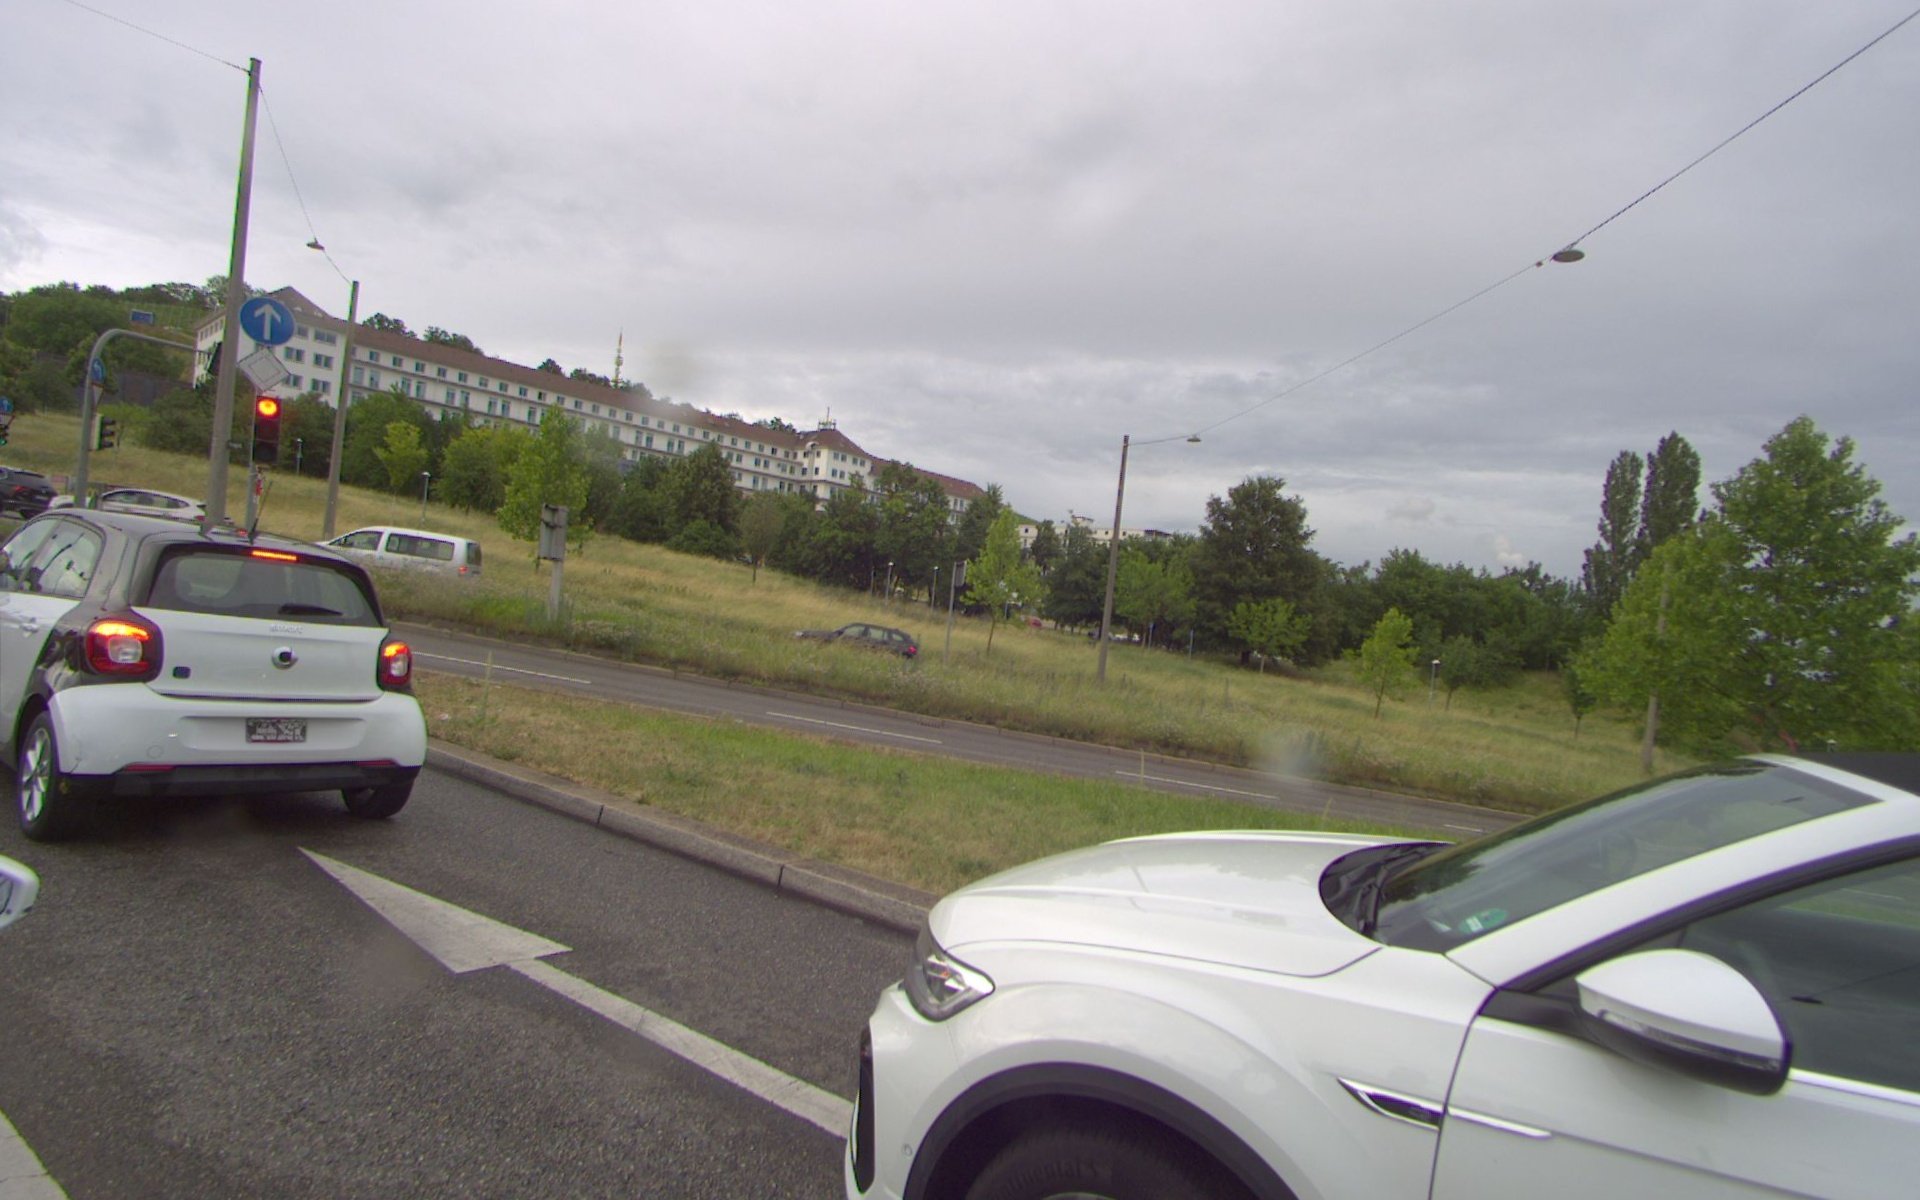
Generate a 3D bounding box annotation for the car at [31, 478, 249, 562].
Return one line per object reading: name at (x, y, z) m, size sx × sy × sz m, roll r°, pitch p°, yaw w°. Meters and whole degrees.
car at (-24.118, -2.315, 29.776) m, size 4.449 × 1.639 × 1.998 m, roll 8°, pitch -2°, yaw -10°

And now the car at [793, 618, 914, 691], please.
car at (-3.787, 1.916, 35.610) m, size 3.932 × 2.037 × 1.998 m, roll 7°, pitch -2°, yaw -9°

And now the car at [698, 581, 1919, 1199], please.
car at (1.744, 1.011, 1.783) m, size 4.156 × 1.571 × 1.718 m, roll 6°, pitch -2°, yaw 28°

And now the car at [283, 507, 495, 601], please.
car at (-15.866, -1.234, 28.189) m, size 4.619 × 1.871 × 1.820 m, roll 7°, pitch -2°, yaw -10°

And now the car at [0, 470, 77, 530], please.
car at (-32.842, -3.578, 33.770) m, size 4.342 × 1.655 × 2.000 m, roll 7°, pitch -2°, yaw -5°

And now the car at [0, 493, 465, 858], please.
car at (-4.678, 0.282, 5.901) m, size 3.397 × 1.520 × 1.659 m, roll 6°, pitch -2°, yaw 36°
